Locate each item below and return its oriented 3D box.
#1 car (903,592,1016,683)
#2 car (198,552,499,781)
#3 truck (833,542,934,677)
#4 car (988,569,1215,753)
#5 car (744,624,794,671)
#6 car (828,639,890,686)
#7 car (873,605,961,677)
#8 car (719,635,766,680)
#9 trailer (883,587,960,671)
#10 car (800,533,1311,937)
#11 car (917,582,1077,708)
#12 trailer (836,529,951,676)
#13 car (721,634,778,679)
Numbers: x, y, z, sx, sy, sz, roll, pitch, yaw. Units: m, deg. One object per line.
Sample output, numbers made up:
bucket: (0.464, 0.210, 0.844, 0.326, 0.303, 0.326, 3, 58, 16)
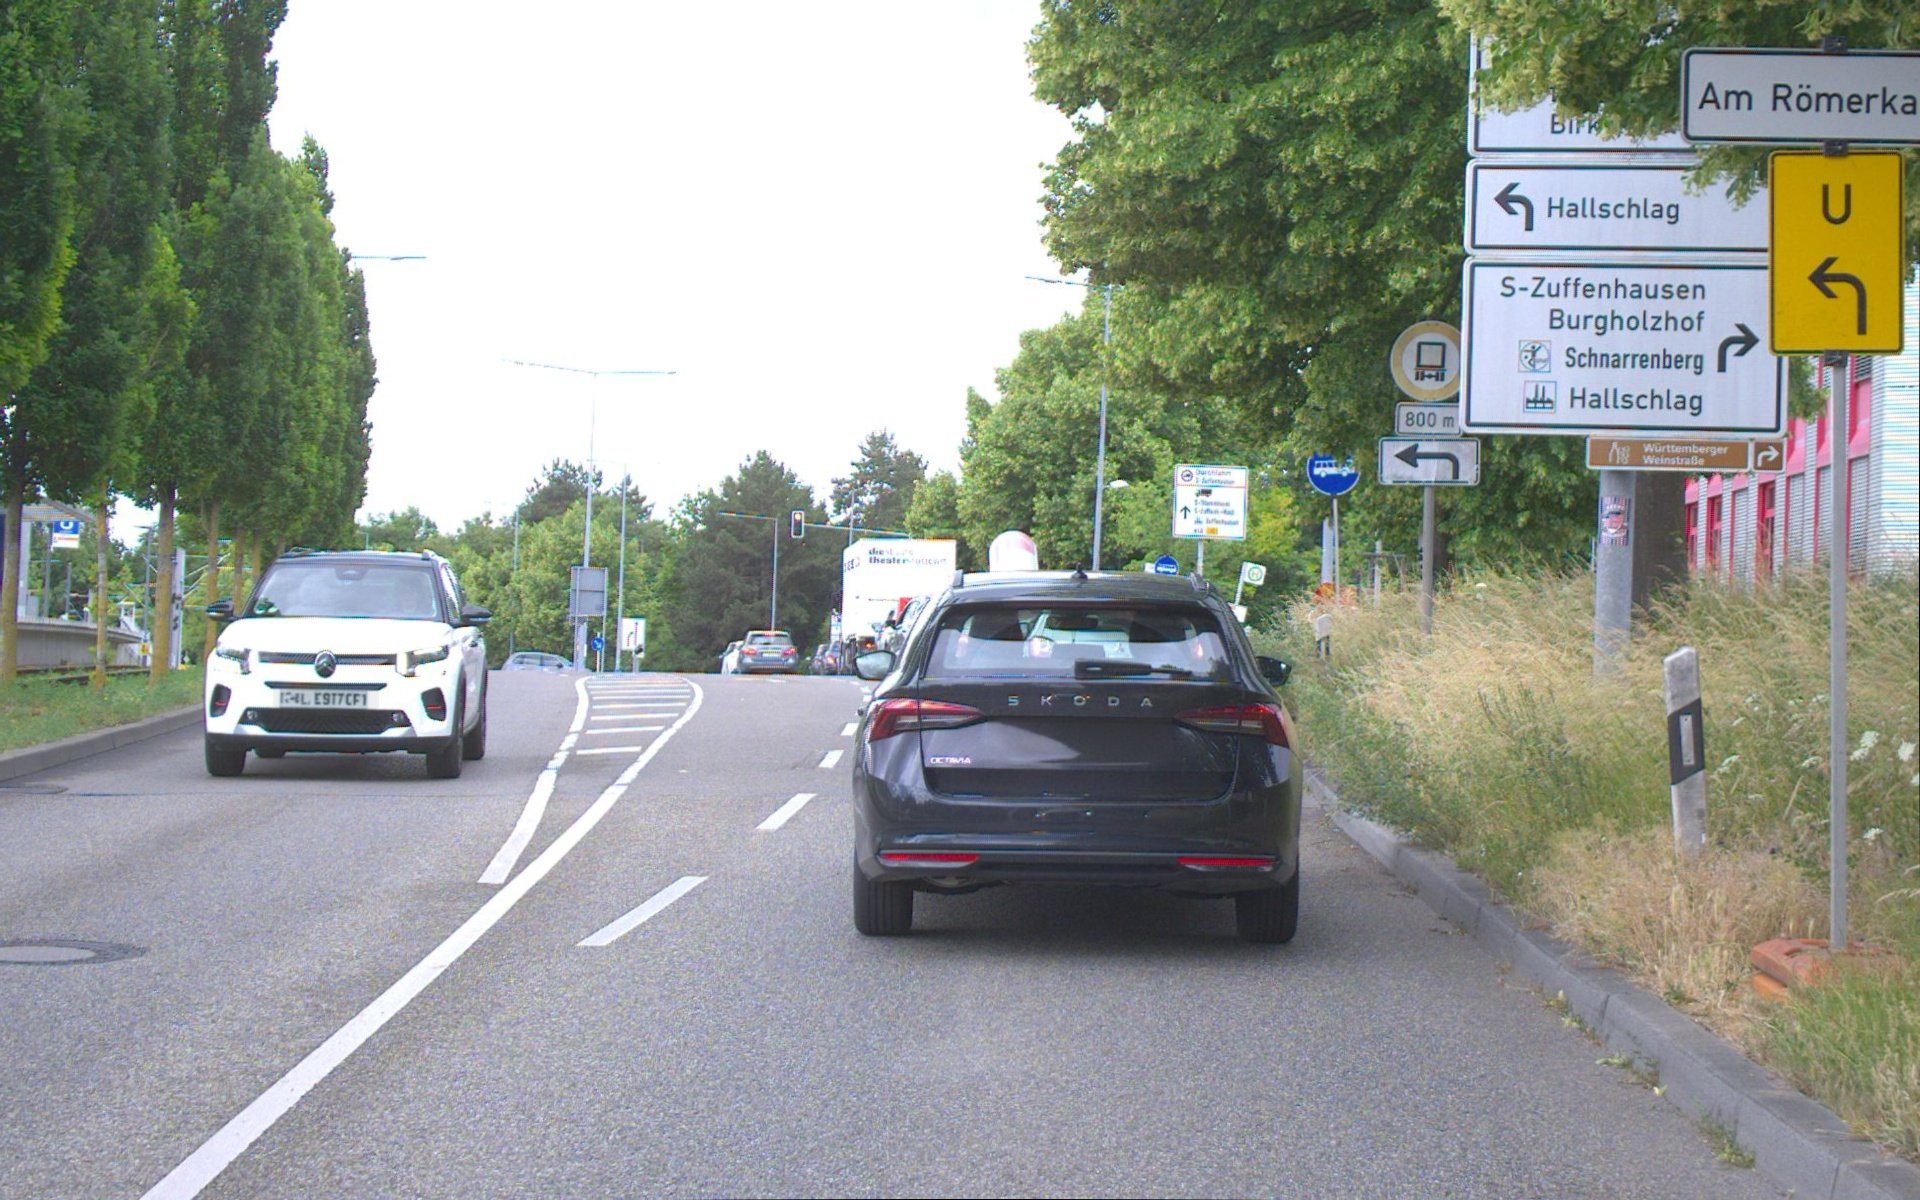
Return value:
car: (-0.039, 0.644, 61.397, 1.698, 1.481, 4.001, 2, 1, -4)
car: (-4.338, 0.420, 24.867, 1.715, 1.516, 3.745, 1, 1, -4)
truck: (-2.241, 0.308, 99.109, 2.570, 3.693, 4.106, 1, -3, -6)
car: (1.175, 0.485, 29.980, 1.623, 1.452, 3.689, 1, 1, -3)
car: (-5.995, 1.482, 107.784, 1.525, 1.349, 3.491, 1, 1, -3)
car: (-3.232, 1.982, 109.787, 1.811, 1.349, 4.118, 2, 0, -3)
car: (-0.931, 0.877, 72.085, 1.671, 1.443, 4.489, 1, -1, -2)
car: (-7.726, 2.048, 122.181, 1.535, 1.499, 2.670, 1, -2, -6)
trailer: (-0.778, 0.580, 68.180, 1.409, 1.588, 3.303, 1, -1, -2)
car: (0.481, 0.465, 14.754, 1.836, 1.427, 4.278, 2, 1, 4)
car: (0.415, 0.531, 42.563, 1.718, 1.452, 3.697, 1, 0, -3)
trailer: (-1.900, 0.150, 95.248, 2.565, 3.693, 7.764, 1, -3, -5)
car: (-7.165, 1.929, 116.866, 1.721, 1.417, 4.357, 1, -2, -6)
